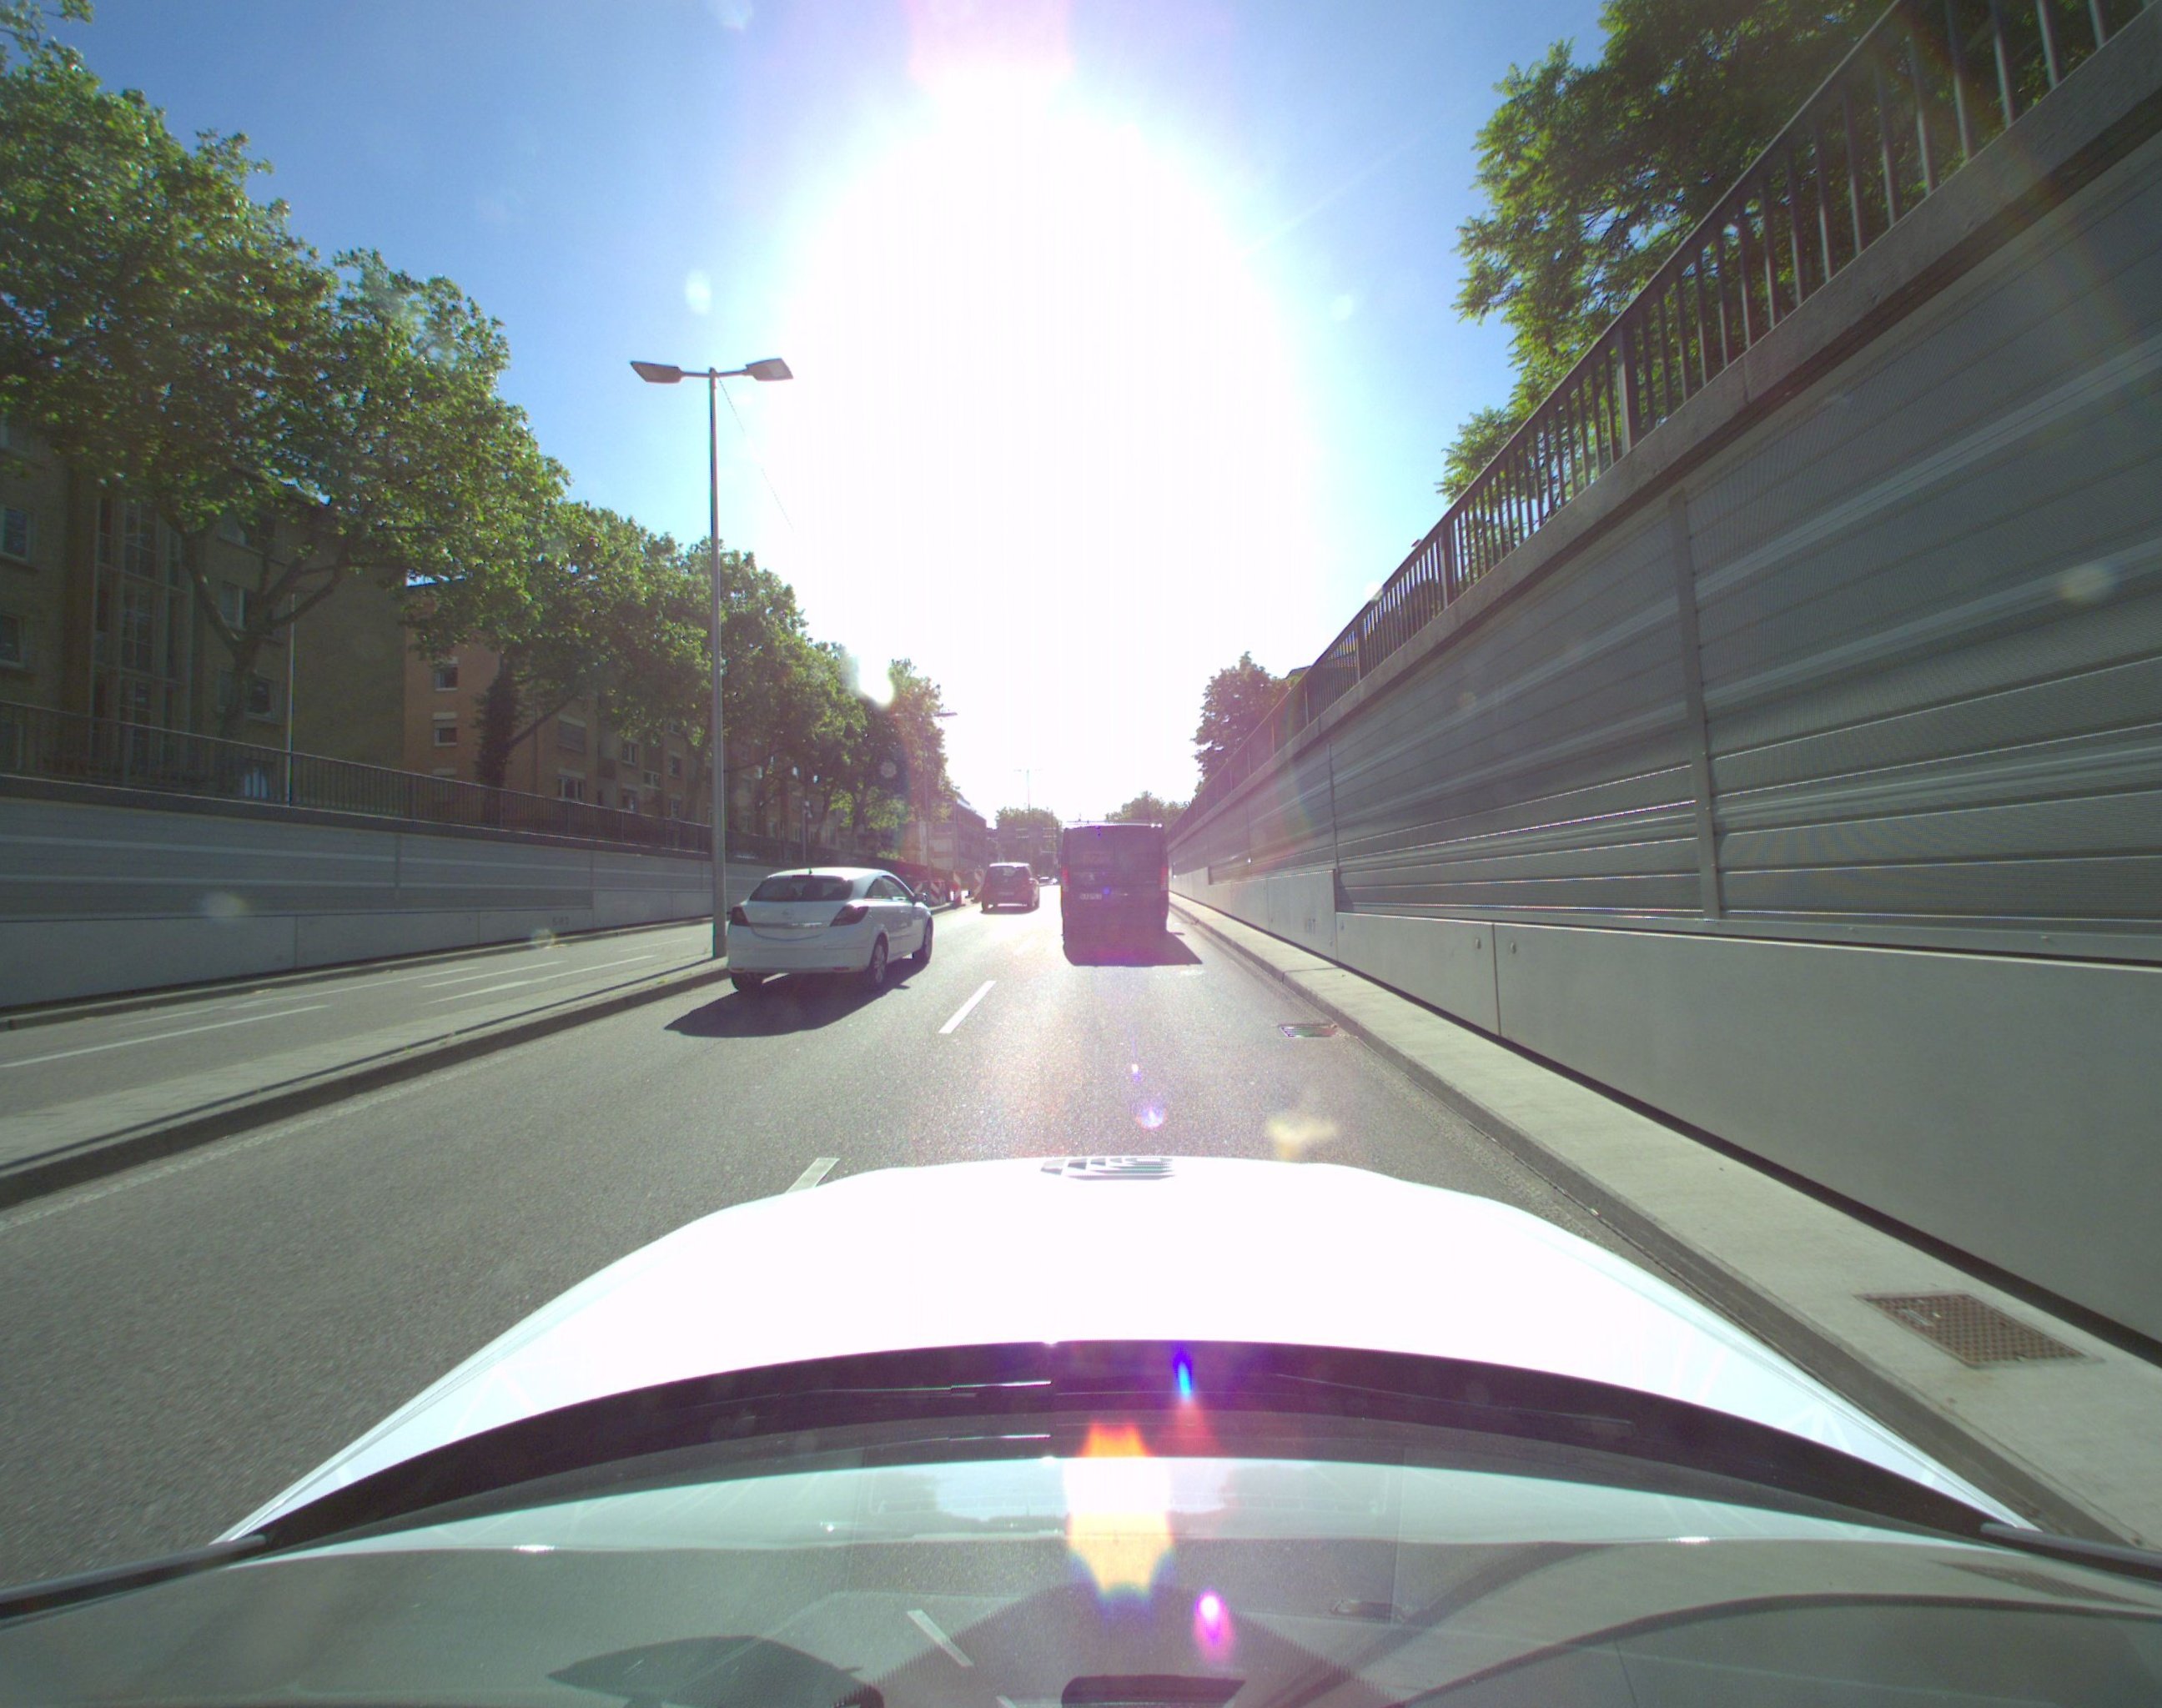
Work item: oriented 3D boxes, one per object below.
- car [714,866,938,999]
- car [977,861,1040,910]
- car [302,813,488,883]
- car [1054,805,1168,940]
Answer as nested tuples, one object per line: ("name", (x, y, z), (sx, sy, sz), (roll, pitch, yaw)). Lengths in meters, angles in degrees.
("car", (-3.069, 0.874, 10.647), (1.613, 1.403, 3.853), (-1, -1, 1))
("car", (-2.306, 0.976, 26.625), (1.683, 1.483, 3.319), (-1, 0, 1))
("car", (-21.268, -0.096, 25.549), (1.958, 1.961, 4.415), (-1, -2, 2))
("car", (0.610, 0.374, 16.836), (2.022, 2.403, 3.974), (-1, -1, 2))
